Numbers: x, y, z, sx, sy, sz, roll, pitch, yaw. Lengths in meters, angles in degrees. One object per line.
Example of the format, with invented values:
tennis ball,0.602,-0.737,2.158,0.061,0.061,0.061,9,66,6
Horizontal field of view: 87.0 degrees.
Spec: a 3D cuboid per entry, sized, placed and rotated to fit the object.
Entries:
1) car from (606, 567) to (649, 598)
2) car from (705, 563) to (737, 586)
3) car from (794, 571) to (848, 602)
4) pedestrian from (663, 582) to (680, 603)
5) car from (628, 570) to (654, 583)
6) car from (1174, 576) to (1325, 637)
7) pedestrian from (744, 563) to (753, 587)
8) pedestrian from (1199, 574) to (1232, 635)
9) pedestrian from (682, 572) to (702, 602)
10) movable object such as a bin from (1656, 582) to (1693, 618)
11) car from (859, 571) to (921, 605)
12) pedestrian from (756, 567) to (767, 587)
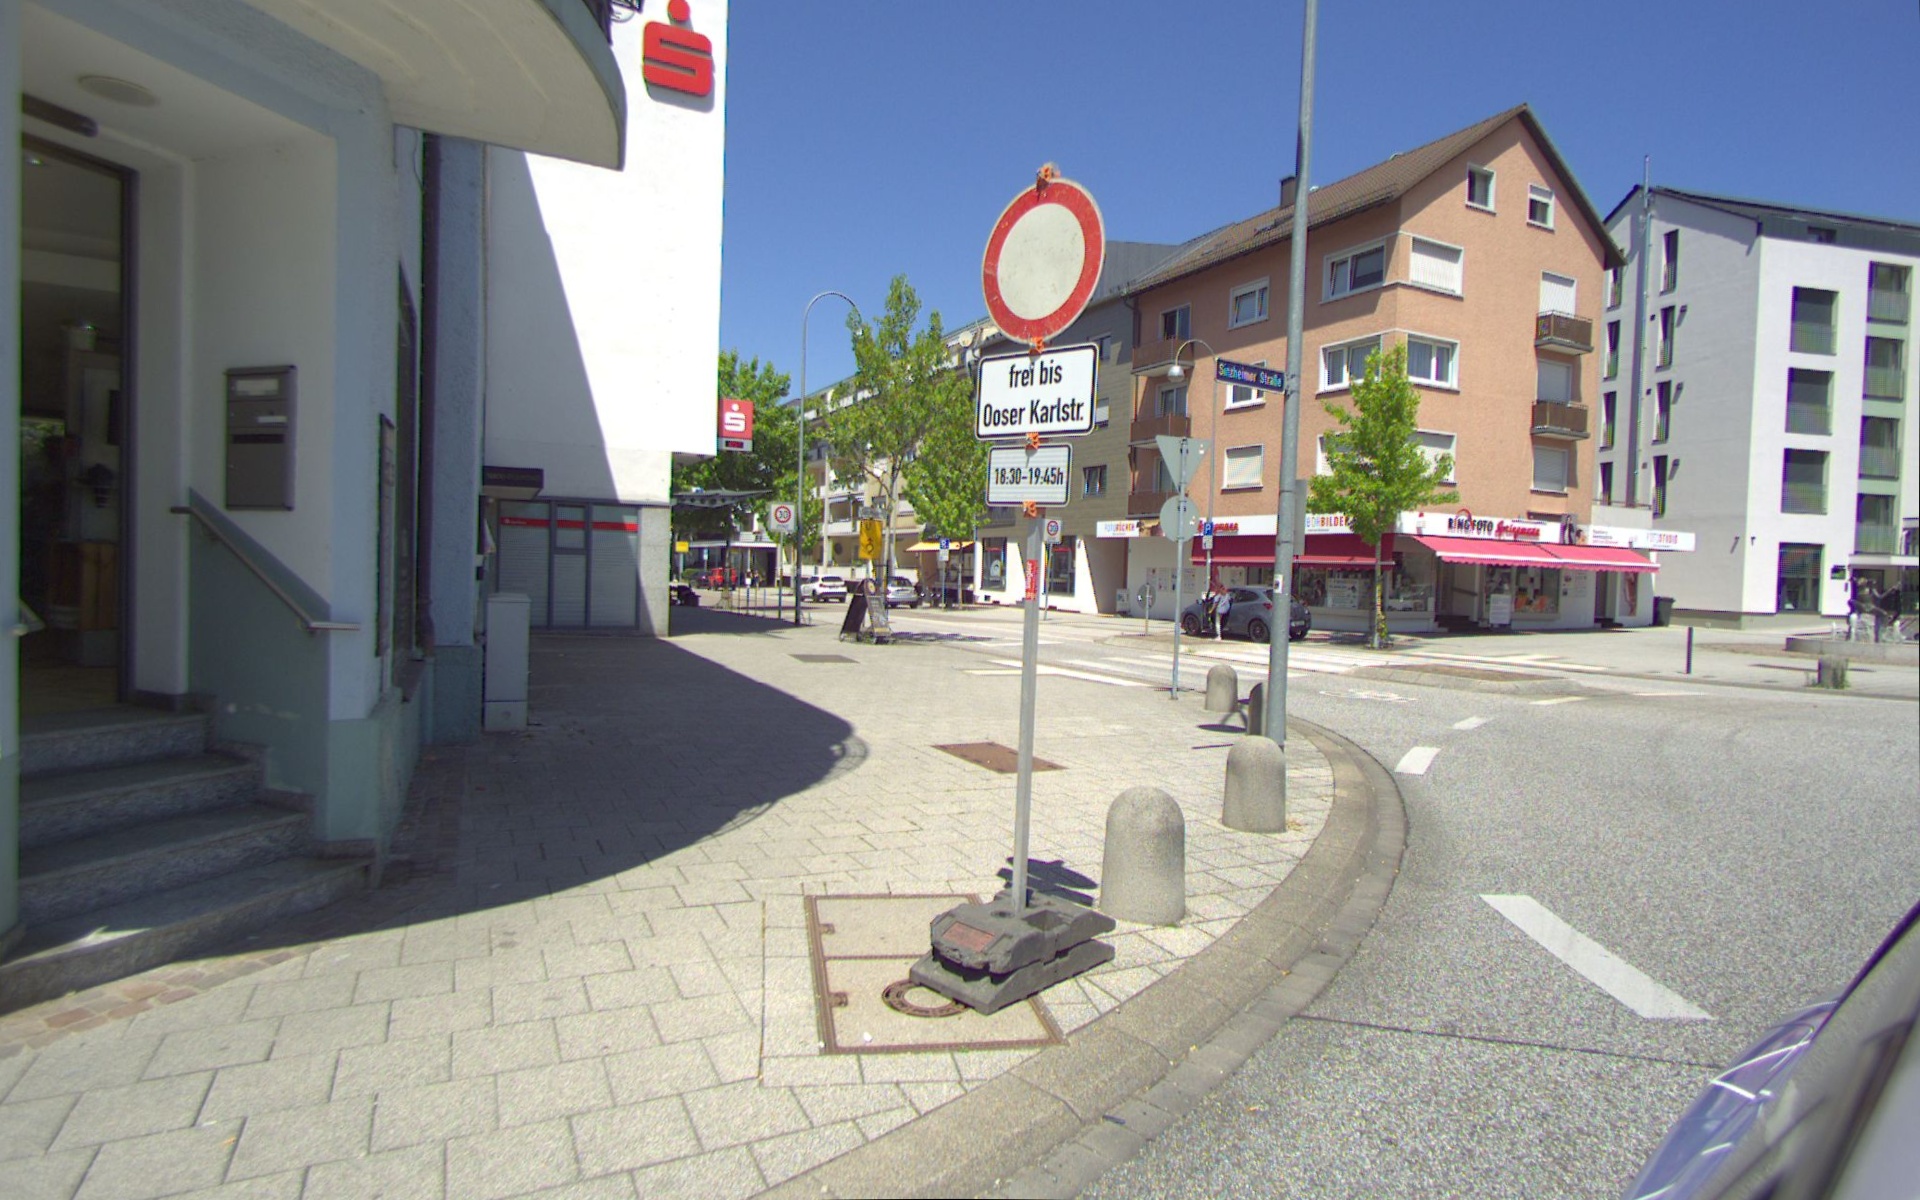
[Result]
car,-20.551,-1.106,62.415,1.660,1.743,4.005,3,0,-30
car,-18.264,-1.942,77.195,1.612,1.682,3.376,-2,2,-26
car,-7.750,-0.777,56.260,1.666,1.612,4.307,0,2,-26
pedestrian,-12.119,-0.315,42.491,0.665,0.862,0.539,1,1,-15
car,-35.995,-2.687,114.150,1.960,1.437,4.004,0,2,-31
car,7.996,0.118,28.335,1.639,1.504,4.065,-3,3,-30
pedestrian,-16.157,-1.889,77.230,0.654,1.827,0.687,1,1,-12
pedestrian,6.985,0.113,27.674,0.722,1.630,0.558,0,1,-41
pedestrian,-11.230,-0.547,42.384,0.747,1.256,0.539,1,1,-12
movable object such as a bin,25.254,-0.009,35.758,0.820,1.268,0.748,0,1,-25
car,-3.245,-0.580,46.635,1.593,1.492,3.555,0,2,-26
pedestrian,-15.387,-1.769,78.263,0.763,1.517,0.699,1,1,-15
